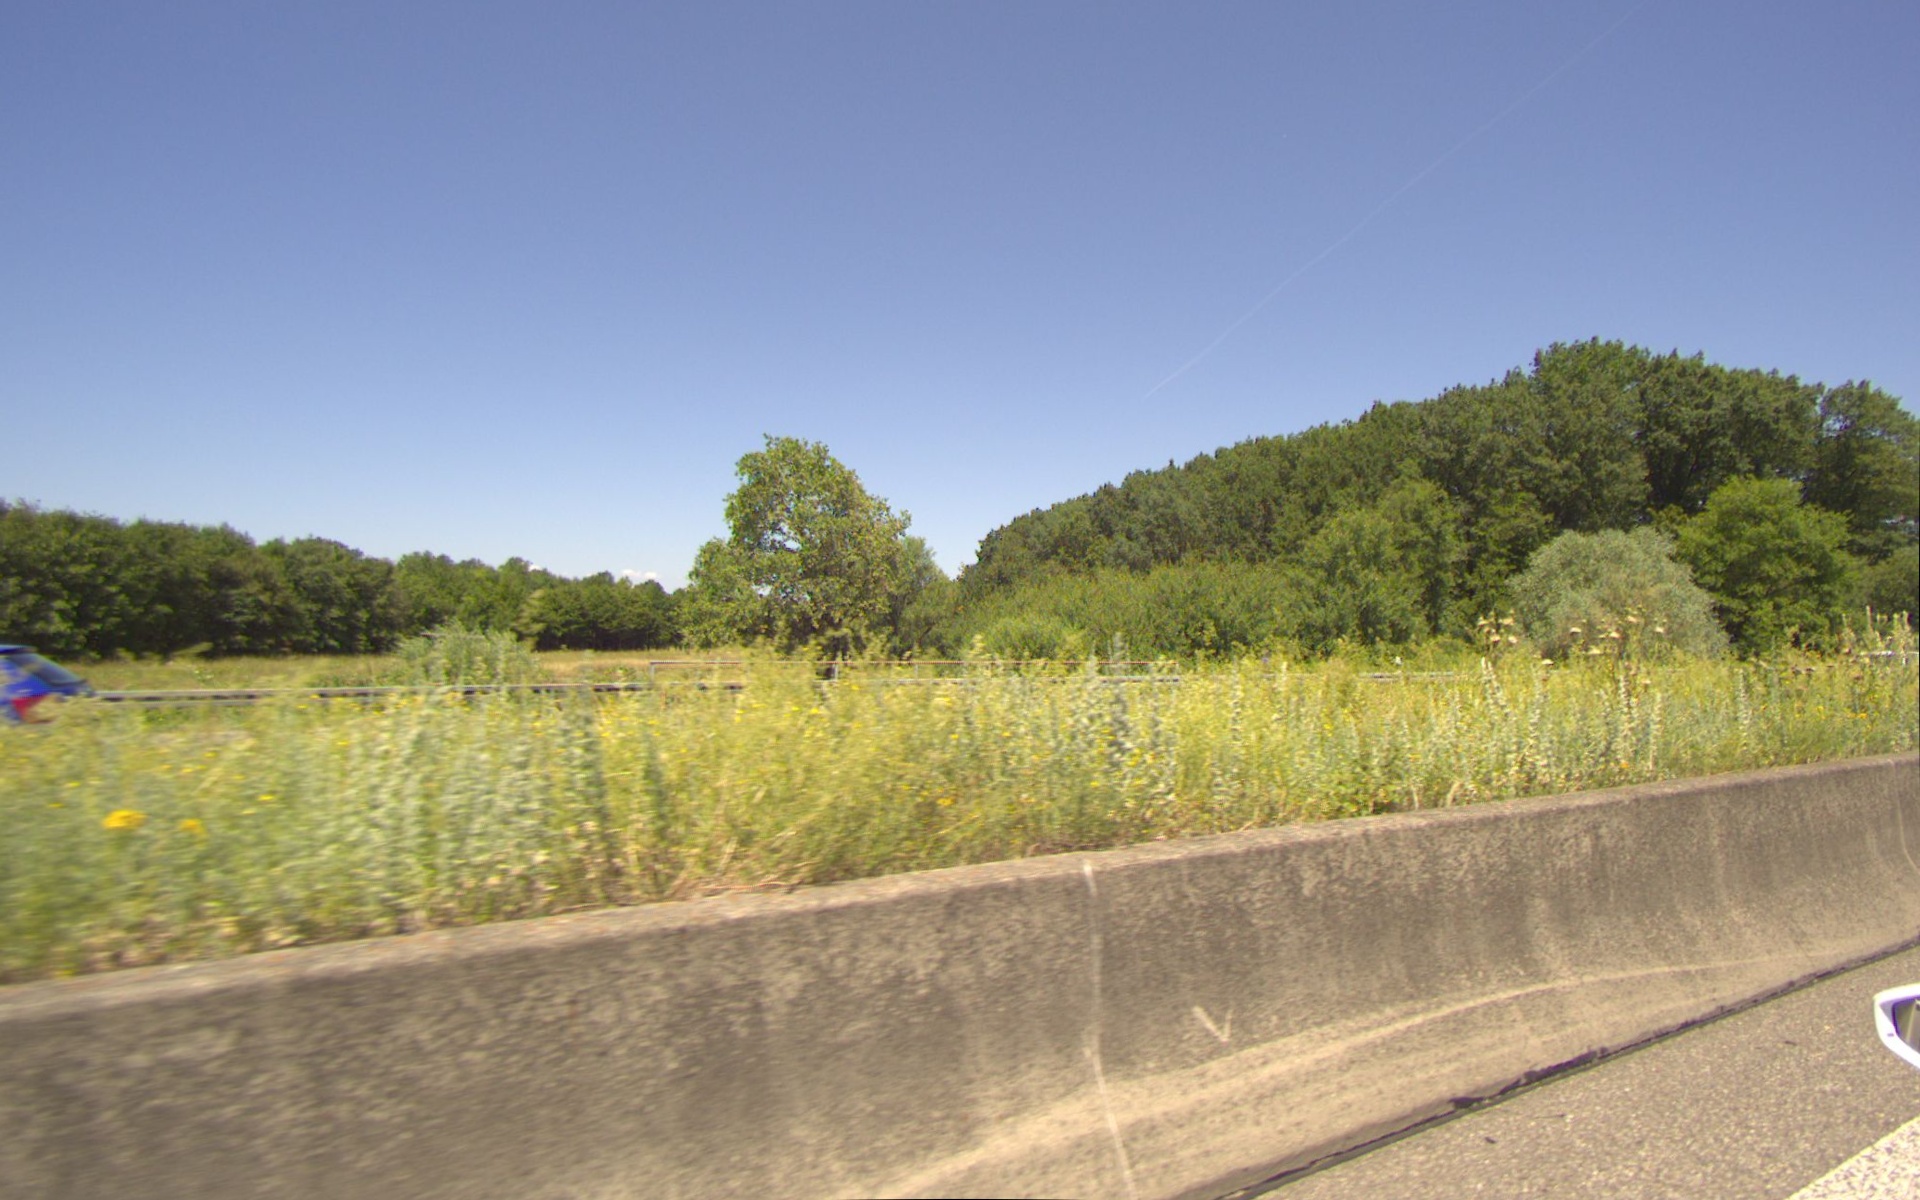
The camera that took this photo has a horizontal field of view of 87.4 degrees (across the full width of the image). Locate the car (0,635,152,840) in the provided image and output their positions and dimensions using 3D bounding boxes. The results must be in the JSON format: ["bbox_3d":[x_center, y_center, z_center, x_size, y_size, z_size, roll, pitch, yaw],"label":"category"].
[{"bbox_3d":[-10.010,1.174,8.707,4.441,1.771,1.921,2,-3,-33],"label":"car"}]

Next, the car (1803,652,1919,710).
[{"bbox_3d":[27.901,2.467,31.032,3.953,1.666,1.641,2,-2,-30],"label":"car"}]
